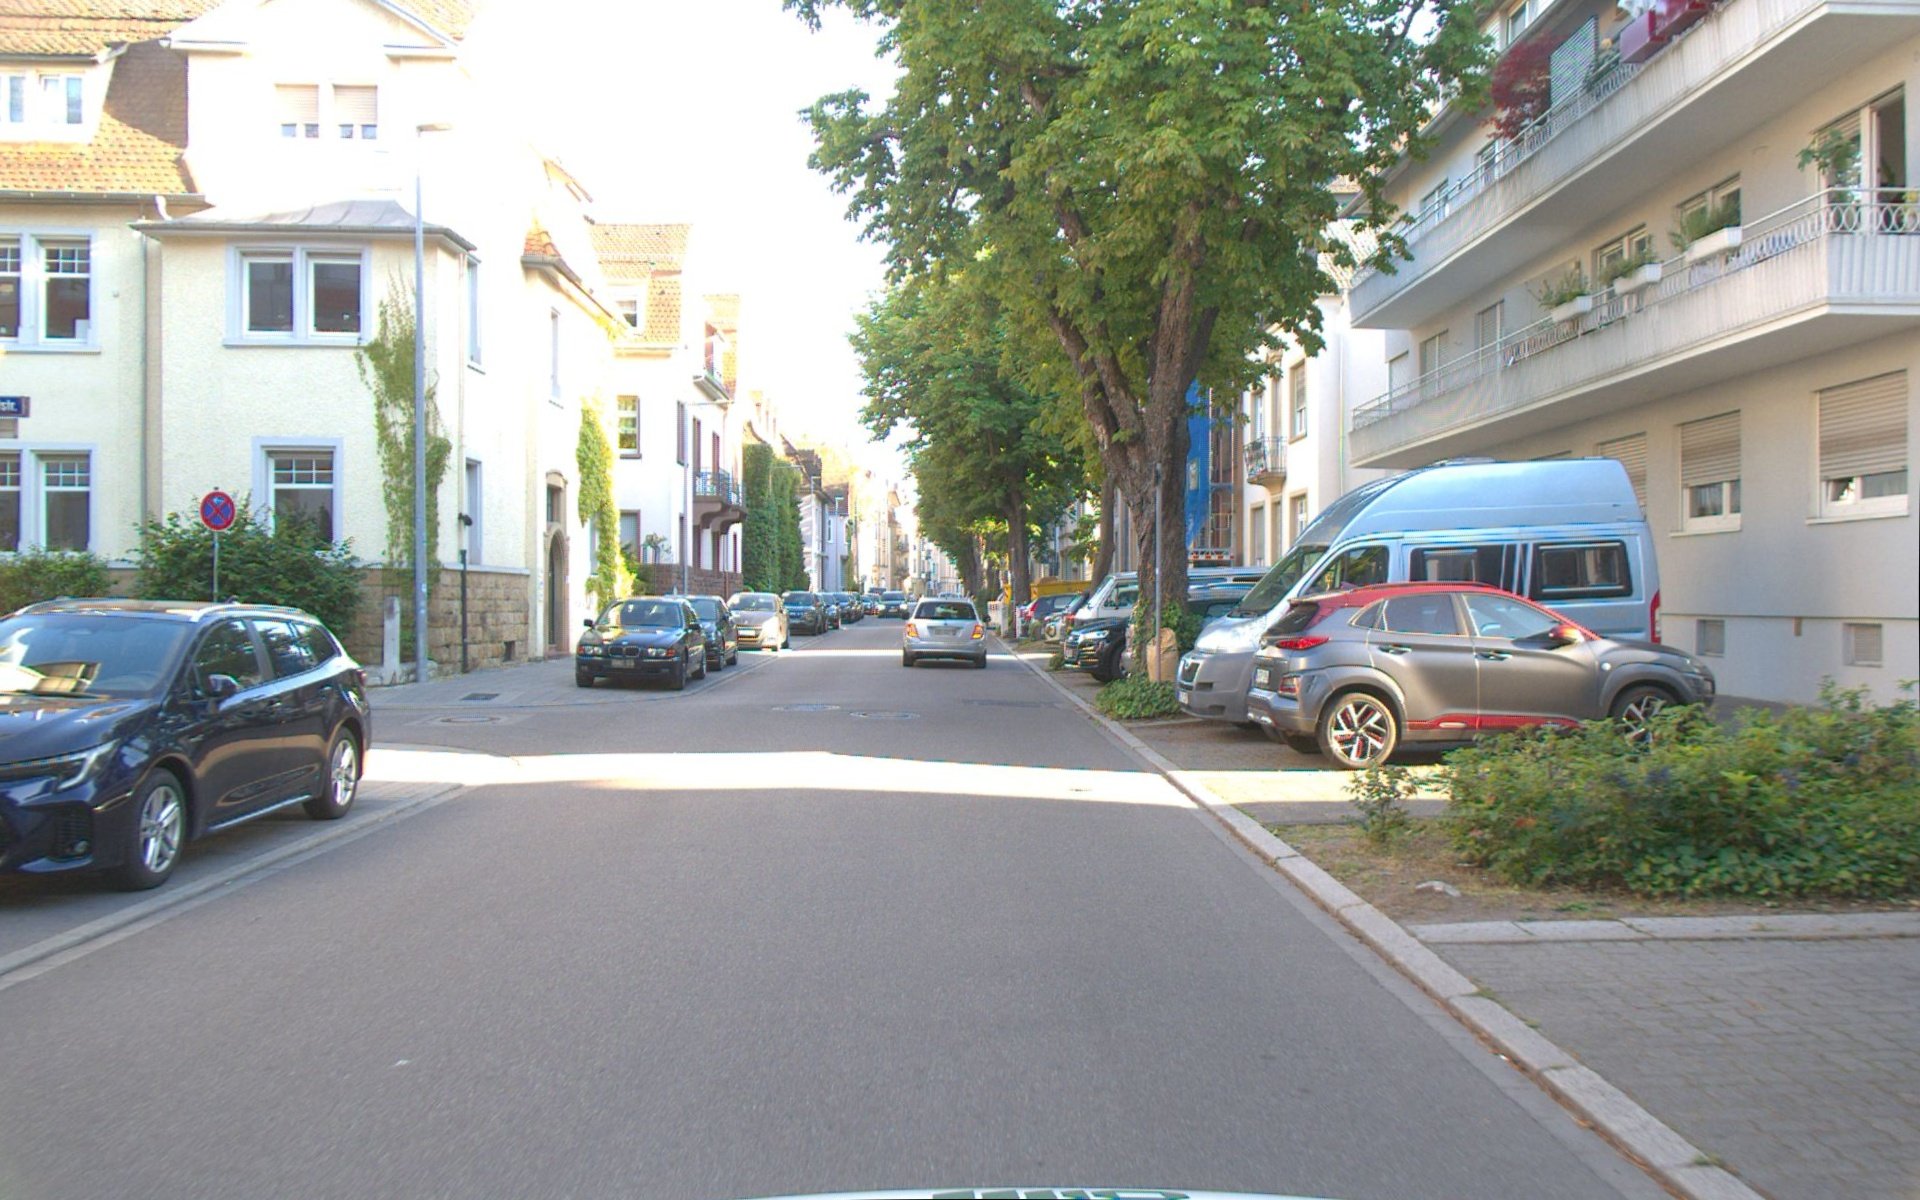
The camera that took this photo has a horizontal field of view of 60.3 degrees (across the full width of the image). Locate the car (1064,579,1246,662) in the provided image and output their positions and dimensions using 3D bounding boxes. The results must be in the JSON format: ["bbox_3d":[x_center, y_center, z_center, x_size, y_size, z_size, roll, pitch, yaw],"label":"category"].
[{"bbox_3d":[4.311,0.443,36.966,3.867,1.712,1.706,-1,1,2],"label":"car"}]

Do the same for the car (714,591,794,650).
[{"bbox_3d":[-5.418,0.511,43.855,1.620,1.472,4.004,1,0,-1],"label":"car"}]

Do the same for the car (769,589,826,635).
[{"bbox_3d":[-5.652,0.390,57.899,1.620,1.511,3.764,1,0,-1],"label":"car"}]

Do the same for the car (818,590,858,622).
[{"bbox_3d":[-5.833,0.285,79.259,1.616,1.445,4.098,1,0,-1],"label":"car"}]

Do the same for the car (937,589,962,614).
[{"bbox_3d":[-0.669,0.075,106.842,1.590,1.597,3.680,0,0,0],"label":"car"}]

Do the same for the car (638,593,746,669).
[{"bbox_3d":[-5.432,0.593,33.994,1.620,1.440,4.166,1,0,-2],"label":"car"}]

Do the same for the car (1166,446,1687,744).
[{"bbox_3d":[4.882,-0.068,17.822,4.992,2.953,2.075,-1,0,-2],"label":"car"}]

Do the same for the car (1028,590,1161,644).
[{"bbox_3d":[4.057,0.510,50.465,3.905,1.518,1.851,-2,0,0],"label":"car"}]

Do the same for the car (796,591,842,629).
[{"bbox_3d":[-5.772,0.377,68.158,1.757,1.487,4.774,1,0,-3],"label":"car"}]

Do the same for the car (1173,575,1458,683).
[{"bbox_3d":[4.997,0.416,23.563,3.646,1.456,1.758,0,-1,-3],"label":"car"}]

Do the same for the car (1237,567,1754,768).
[{"bbox_3d":[4.751,0.571,15.055,4.105,1.596,1.758,-2,0,-3],"label":"car"}]

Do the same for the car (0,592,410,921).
[{"bbox_3d":[-4.871,0.710,9.916,1.620,1.479,4.630,1,0,-1],"label":"car"}]

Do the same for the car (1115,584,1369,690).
[{"bbox_3d":[4.344,0.560,25.821,3.646,1.581,1.638,0,0,-3],"label":"car"}]

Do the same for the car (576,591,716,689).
[{"bbox_3d":[-5.257,0.620,28.228,1.675,1.496,4.631,1,0,-3],"label":"car"}]

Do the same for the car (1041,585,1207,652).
[{"bbox_3d":[4.219,0.464,43.025,4.071,1.566,1.850,-2,0,-1],"label":"car"}]

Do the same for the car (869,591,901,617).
[{"bbox_3d":[-4.350,0.223,96.262,1.736,1.474,3.999,-1,1,-1],"label":"car"}]

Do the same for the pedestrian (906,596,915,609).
[{"bbox_3d":[-7.204,0.355,241.726,1.195,1.752,1.504,1,0,2],"label":"pedestrian"}]

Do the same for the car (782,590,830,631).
[{"bbox_3d":[-5.763,0.366,62.176,1.620,1.472,3.842,1,0,-3],"label":"car"}]

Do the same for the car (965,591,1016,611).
[{"bbox_3d":[2.549,0.053,135.774,4.103,1.501,1.852,-2,0,1],"label":"car"}]

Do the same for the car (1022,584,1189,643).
[{"bbox_3d":[4.188,0.382,48.104,4.622,1.562,1.850,-2,0,-1],"label":"car"}]

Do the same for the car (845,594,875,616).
[{"bbox_3d":[-6.561,0.342,109.333,1.619,1.347,4.046,1,0,1],"label":"car"}]

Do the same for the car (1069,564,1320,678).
[{"bbox_3d":[4.332,0.378,30.969,4.380,2.049,1.895,0,0,-3],"label":"car"}]

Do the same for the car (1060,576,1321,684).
[{"bbox_3d":[3.889,0.495,28.229,4.097,1.754,1.762,0,0,-8],"label":"car"}]

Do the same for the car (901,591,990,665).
[{"bbox_3d":[-0.294,0.577,34.987,1.747,1.462,3.850,1,-1,0],"label":"car"}]
